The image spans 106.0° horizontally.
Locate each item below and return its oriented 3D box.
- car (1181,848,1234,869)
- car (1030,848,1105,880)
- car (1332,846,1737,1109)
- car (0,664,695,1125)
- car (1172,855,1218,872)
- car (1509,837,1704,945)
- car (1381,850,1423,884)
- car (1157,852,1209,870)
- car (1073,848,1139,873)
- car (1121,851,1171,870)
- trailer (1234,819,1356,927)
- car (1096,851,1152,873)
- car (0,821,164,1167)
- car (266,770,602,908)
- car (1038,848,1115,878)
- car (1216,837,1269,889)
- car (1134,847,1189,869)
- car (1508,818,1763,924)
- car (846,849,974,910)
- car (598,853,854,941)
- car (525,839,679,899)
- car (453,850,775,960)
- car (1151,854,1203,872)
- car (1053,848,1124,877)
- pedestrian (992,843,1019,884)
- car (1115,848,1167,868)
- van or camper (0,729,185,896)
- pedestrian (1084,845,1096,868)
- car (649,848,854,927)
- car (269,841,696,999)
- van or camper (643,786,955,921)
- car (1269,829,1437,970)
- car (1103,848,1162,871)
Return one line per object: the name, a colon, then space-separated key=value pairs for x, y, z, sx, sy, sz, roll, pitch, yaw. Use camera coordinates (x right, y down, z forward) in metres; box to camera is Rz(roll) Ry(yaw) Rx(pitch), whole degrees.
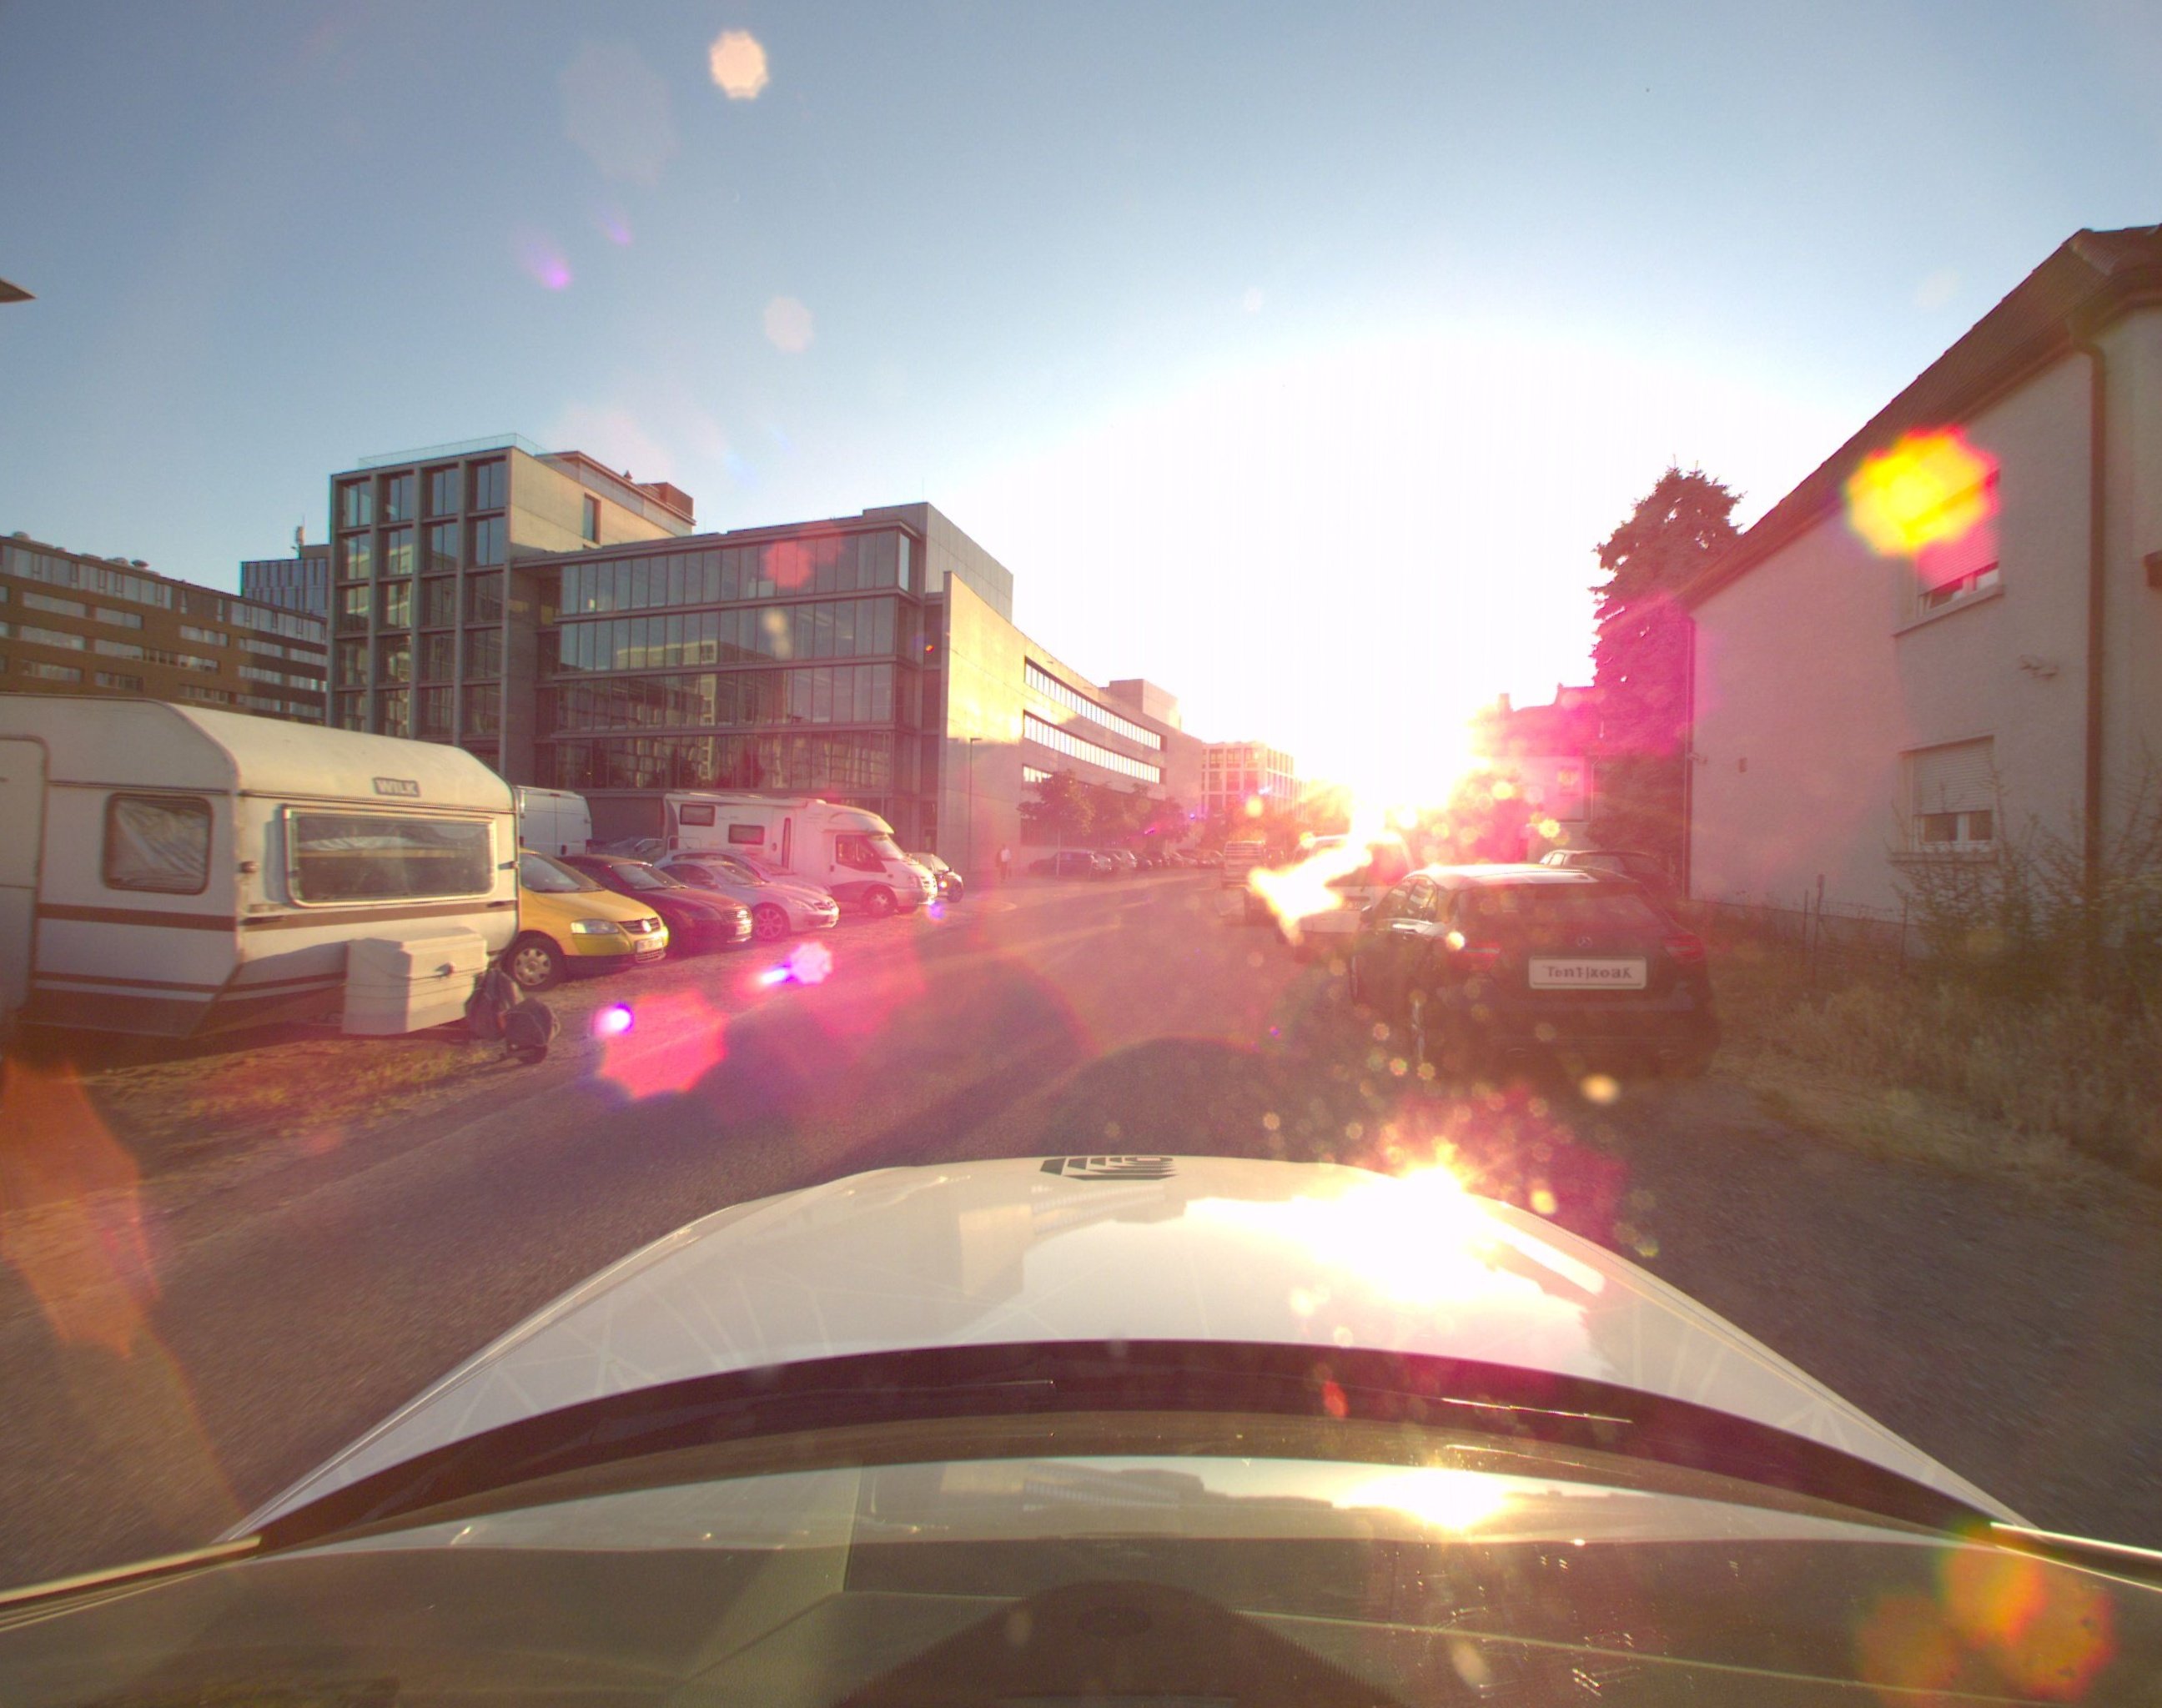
car: x=13.273 y=0.446 z=85.434 sx=5.031 sy=1.946 sz=1.899 roll=3 pitch=0 yaw=24
car: x=-0.699 y=0.515 z=43.691 sx=3.711 sy=1.482 sz=1.775 roll=2 pitch=1 yaw=11
car: x=3.286 y=0.706 z=6.861 sx=1.694 sy=1.519 sz=4.099 roll=0 pitch=0 yaw=9
car: x=-6.438 y=0.130 z=6.094 sx=5.858 sy=2.534 sz=2.416 roll=3 pitch=0 yaw=6
car: x=11.213 y=0.919 z=80.276 sx=4.108 sy=1.404 sz=1.734 roll=3 pitch=0 yaw=23
car: x=8.479 y=0.573 z=13.539 sx=1.624 sy=1.519 sz=3.918 roll=0 pitch=-2 yaw=15
car: x=14.477 y=0.537 z=36.875 sx=1.516 sy=1.444 sz=3.656 roll=0 pitch=0 yaw=17
car: x=9.541 y=0.645 z=76.232 sx=4.357 sy=1.499 sz=1.773 roll=3 pitch=0 yaw=26
car: x=1.626 y=0.394 z=53.408 sx=3.957 sy=1.511 sz=1.767 roll=2 pitch=1 yaw=16
car: x=5.275 y=0.519 z=65.704 sx=3.672 sy=1.457 sz=1.687 roll=1 pitch=0 yaw=19
trailer: x=4.870 y=0.366 z=19.320 sx=2.054 sy=2.211 sz=5.232 roll=0 pitch=0 yaw=6
car: x=2.978 y=0.534 z=56.024 sx=3.609 sy=1.361 sz=1.692 roll=2 pitch=1 yaw=12
car: x=-7.044 y=0.550 z=3.564 sx=4.109 sy=1.591 sz=1.749 roll=3 pitch=-1 yaw=3
car: x=-14.351 y=-0.364 z=18.198 sx=6.203 sy=2.673 sz=2.229 roll=2 pitch=0 yaw=10
car: x=-0.215 y=0.478 z=46.445 sx=4.060 sy=1.528 sz=1.851 roll=2 pitch=1 yaw=10
car: x=7.094 y=0.334 z=35.353 sx=2.051 sy=2.095 sz=4.890 roll=0 pitch=0 yaw=13
car: x=6.762 y=0.353 z=68.271 sx=4.274 sy=1.696 sz=1.905 roll=1 pitch=0 yaw=19
car: x=15.268 y=0.371 z=22.860 sx=5.518 sy=2.692 sz=2.063 roll=1 pitch=2 yaw=18
car: x=-4.813 y=0.691 z=23.626 sx=1.674 sy=1.519 sz=4.379 roll=2 pitch=0 yaw=16
car: x=-6.264 y=0.726 z=14.627 sx=3.791 sy=1.328 sz=1.694 roll=2 pitch=0 yaw=3
car: x=-13.109 y=0.390 z=22.356 sx=3.417 sy=1.447 sz=1.519 roll=2 pitch=0 yaw=10
car: x=-6.749 y=0.690 z=12.049 sx=3.712 sy=1.367 sz=1.706 roll=2 pitch=0 yaw=1
car: x=8.693 y=0.787 z=73.881 sx=4.395 sy=1.464 sz=1.773 roll=1 pitch=1 yaw=22
car: x=0.482 y=0.461 z=48.667 sx=3.973 sy=1.512 sz=1.590 roll=2 pitch=2 yaw=10
pedestrian: x=-3.478 y=0.403 z=37.494 sx=0.907 sy=1.850 sz=0.846 roll=0 pitch=1 yaw=-42
car: x=4.684 y=0.321 z=63.621 sx=3.673 sy=1.457 sz=1.719 roll=1 pitch=0 yaw=17
van or camper: x=-14.223 y=-0.548 z=10.179 sx=4.312 sy=1.891 sz=1.937 roll=2 pitch=0 yaw=9
pedestrian: x=0.714 y=0.179 z=63.793 sx=0.641 sy=1.784 sz=0.728 roll=2 pitch=0 yaw=17
car: x=-6.917 y=0.679 z=17.348 sx=3.592 sy=1.476 sz=1.693 roll=2 pitch=0 yaw=0
car: x=-6.696 y=0.685 z=9.401 sx=3.615 sy=1.519 sz=1.706 roll=2 pitch=0 yaw=1
van or camper: x=-6.747 y=-0.040 z=19.961 sx=6.707 sy=2.897 sz=2.412 roll=2 pitch=0 yaw=5
car: x=4.085 y=0.613 z=12.932 sx=1.761 sy=1.831 sz=4.417 roll=0 pitch=-1 yaw=8
car: x=3.724 y=0.366 z=58.822 sx=3.840 sy=1.511 sz=1.768 roll=2 pitch=1 yaw=17
